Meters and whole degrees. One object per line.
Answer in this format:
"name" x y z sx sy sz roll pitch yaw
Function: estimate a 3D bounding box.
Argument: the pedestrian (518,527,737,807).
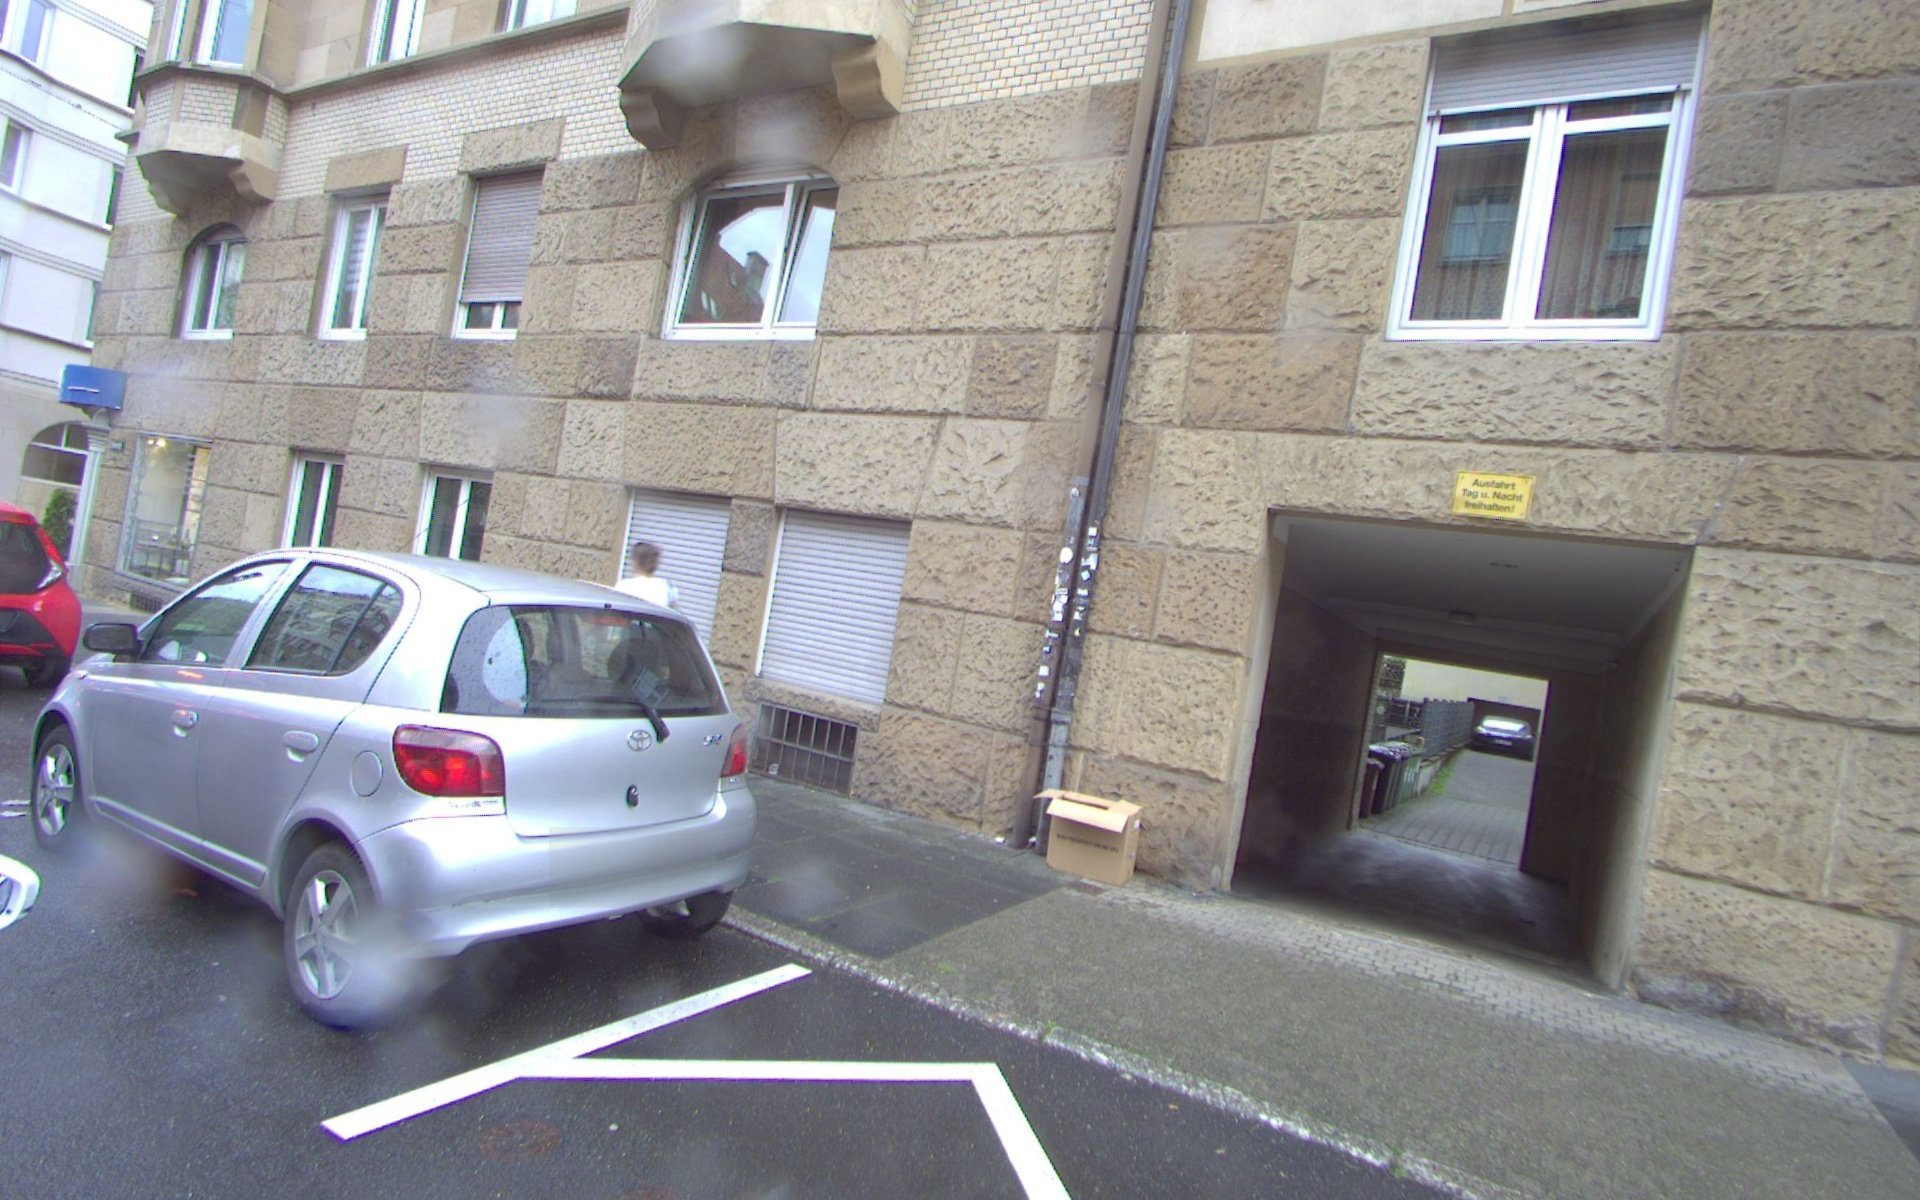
"pedestrian" -2.342 0.447 7.100 1.093 1.768 0.743 6 -1 32

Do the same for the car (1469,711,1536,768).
"car" 18.347 4.679 33.941 1.693 1.538 4.102 7 -3 31

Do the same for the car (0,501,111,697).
"car" -8.730 -0.195 8.177 3.243 1.464 1.646 7 -2 29

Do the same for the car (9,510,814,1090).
"car" -2.481 0.551 4.399 3.258 1.485 1.616 7 0 33
